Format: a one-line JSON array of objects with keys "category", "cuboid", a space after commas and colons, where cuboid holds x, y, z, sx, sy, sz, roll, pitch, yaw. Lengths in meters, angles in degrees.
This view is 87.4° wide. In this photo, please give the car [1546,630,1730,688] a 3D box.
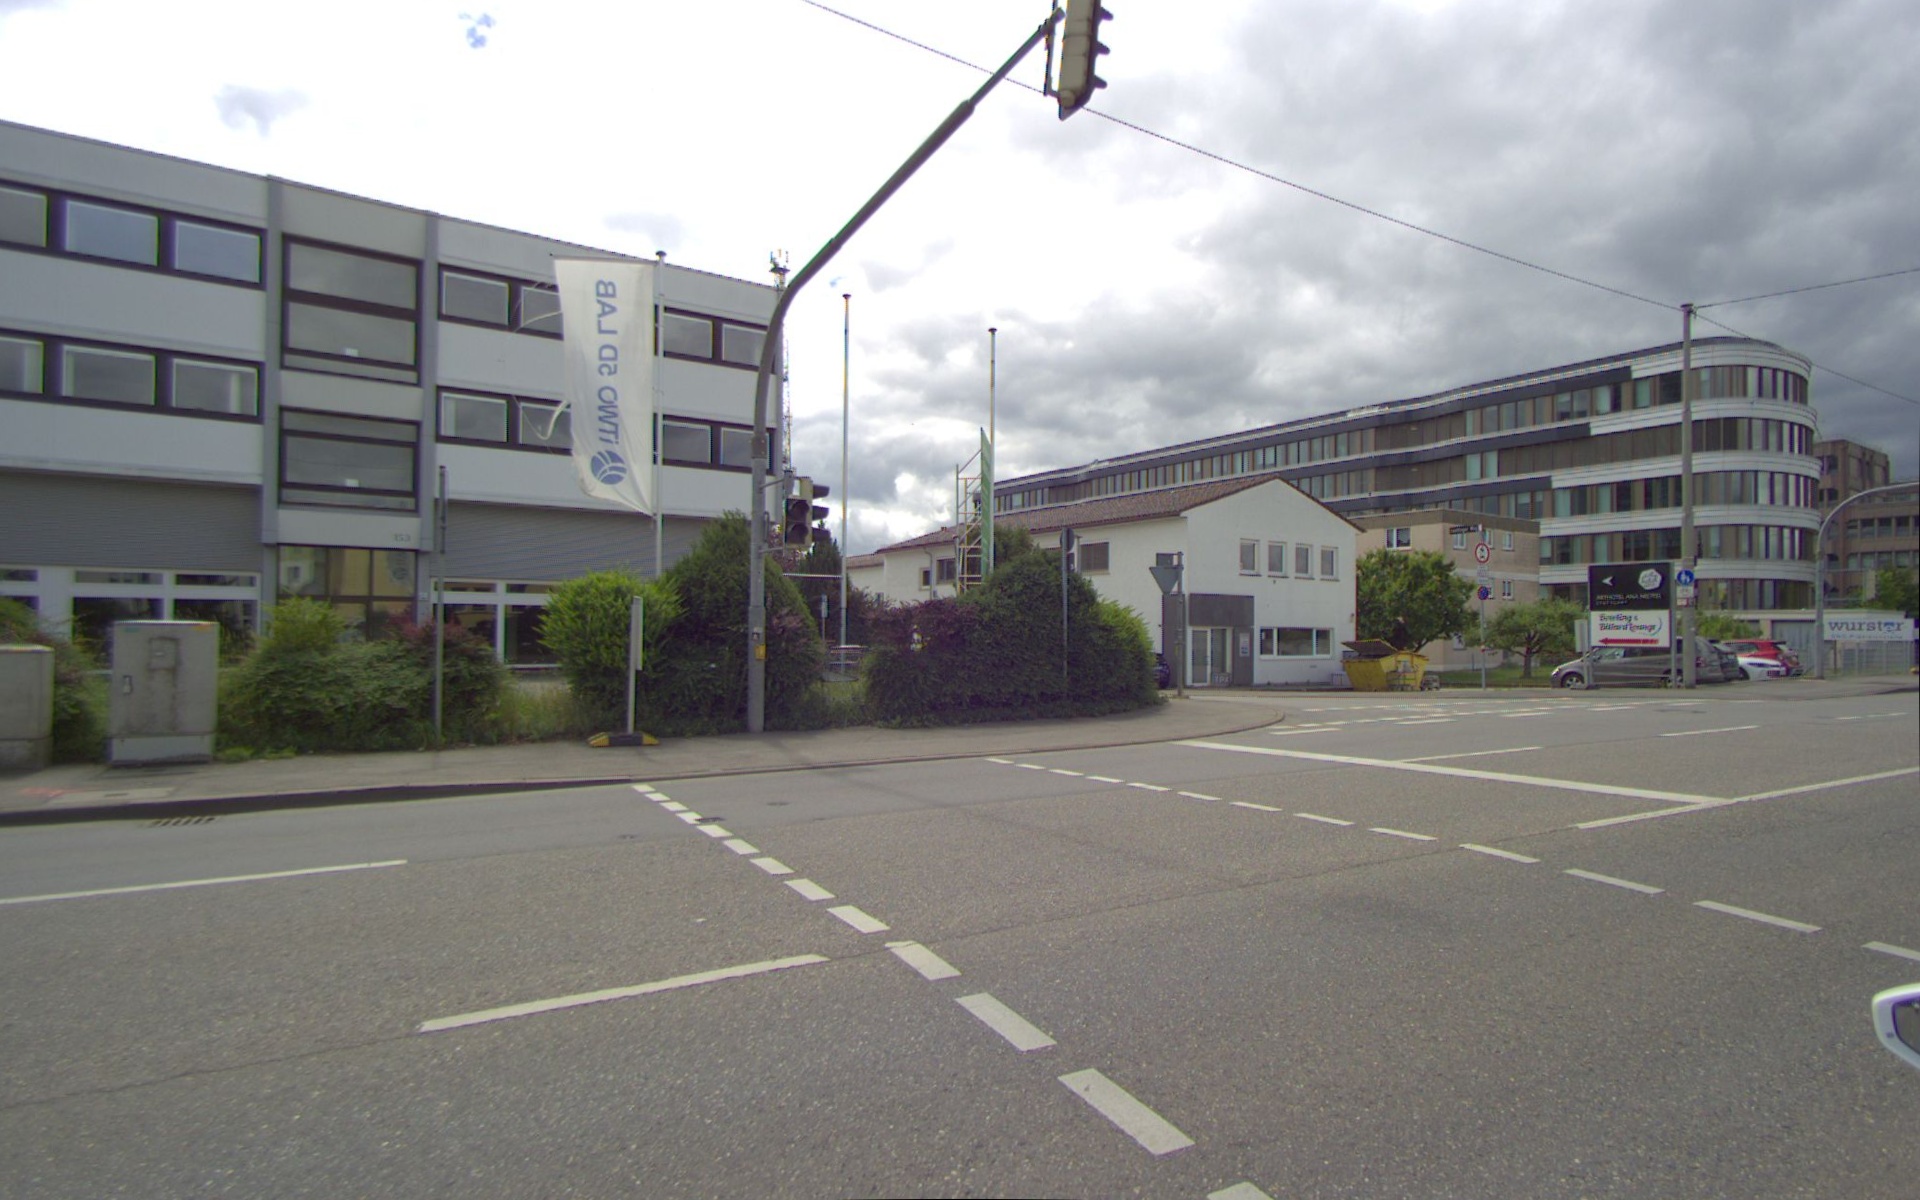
[{"category": "car", "cuboid": [20.089, 1.787, 29.918, 1.890, 1.415, 4.067, 1, -7, -37]}]

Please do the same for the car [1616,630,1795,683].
[{"category": "car", "cuboid": [24.134, 1.886, 32.660, 1.965, 1.404, 4.199, 3, -8, -35]}]

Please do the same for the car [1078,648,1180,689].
[{"category": "car", "cuboid": [6.494, 2.645, 39.009, 1.789, 1.438, 3.910, -1, -3, -30]}]

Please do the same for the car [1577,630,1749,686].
[{"category": "car", "cuboid": [21.978, 1.869, 31.553, 1.835, 1.442, 3.969, 2, -8, -32]}]

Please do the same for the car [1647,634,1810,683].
[{"category": "car", "cuboid": [26.197, 2.037, 34.384, 1.828, 1.386, 3.969, 2, -8, -32]}]
